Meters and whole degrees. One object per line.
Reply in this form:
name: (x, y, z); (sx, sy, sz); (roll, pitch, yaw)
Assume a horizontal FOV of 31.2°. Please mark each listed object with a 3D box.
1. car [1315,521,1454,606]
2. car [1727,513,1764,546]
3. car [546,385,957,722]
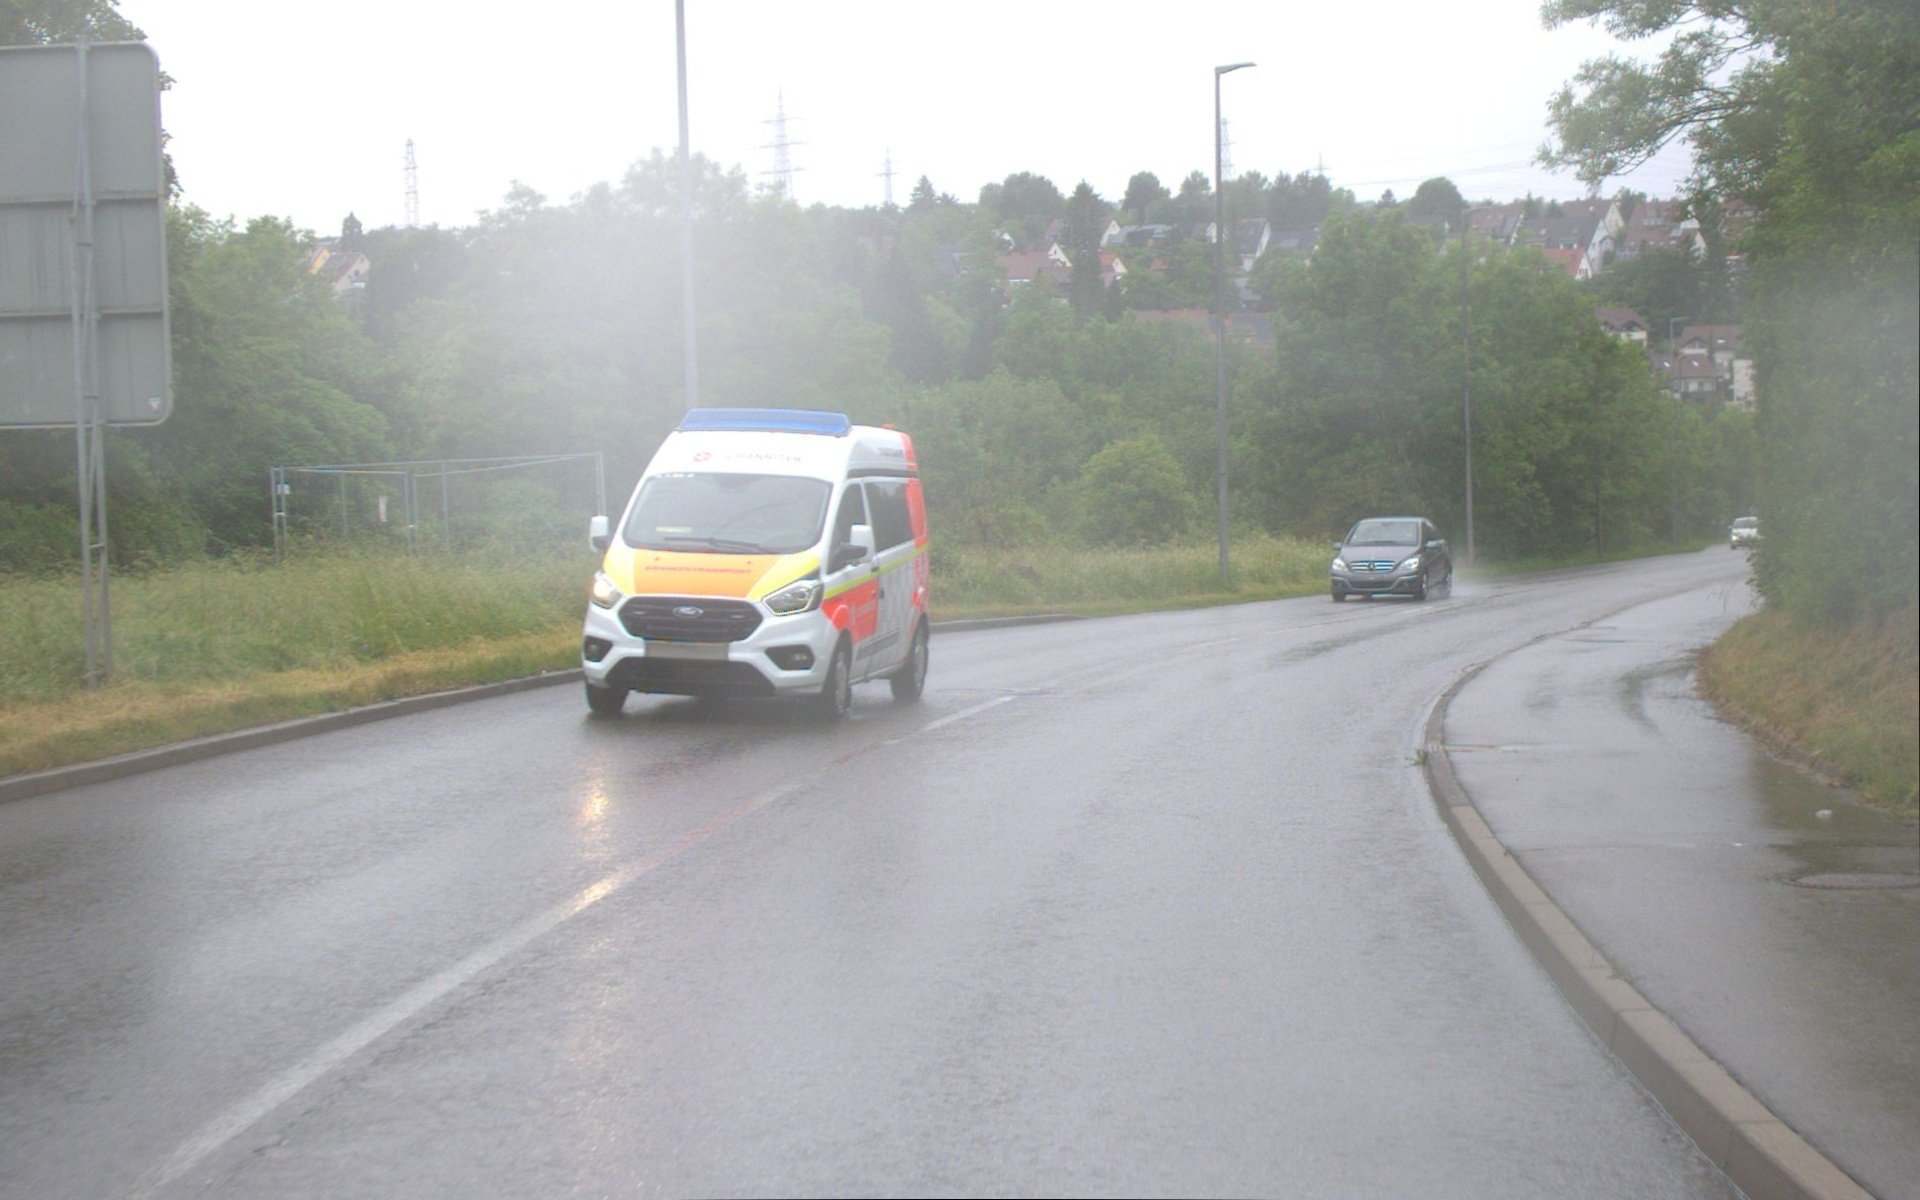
car: (8.199, -0.721, 66.084); (1.866, 1.546, 4.262); (2, 2, 18)
car: (36.932, -3.307, 161.613); (1.640, 1.483, 3.452); (-2, 1, 14)
car: (-1.539, -0.392, 27.825); (2.045, 2.409, 5.453); (2, 1, 10)
